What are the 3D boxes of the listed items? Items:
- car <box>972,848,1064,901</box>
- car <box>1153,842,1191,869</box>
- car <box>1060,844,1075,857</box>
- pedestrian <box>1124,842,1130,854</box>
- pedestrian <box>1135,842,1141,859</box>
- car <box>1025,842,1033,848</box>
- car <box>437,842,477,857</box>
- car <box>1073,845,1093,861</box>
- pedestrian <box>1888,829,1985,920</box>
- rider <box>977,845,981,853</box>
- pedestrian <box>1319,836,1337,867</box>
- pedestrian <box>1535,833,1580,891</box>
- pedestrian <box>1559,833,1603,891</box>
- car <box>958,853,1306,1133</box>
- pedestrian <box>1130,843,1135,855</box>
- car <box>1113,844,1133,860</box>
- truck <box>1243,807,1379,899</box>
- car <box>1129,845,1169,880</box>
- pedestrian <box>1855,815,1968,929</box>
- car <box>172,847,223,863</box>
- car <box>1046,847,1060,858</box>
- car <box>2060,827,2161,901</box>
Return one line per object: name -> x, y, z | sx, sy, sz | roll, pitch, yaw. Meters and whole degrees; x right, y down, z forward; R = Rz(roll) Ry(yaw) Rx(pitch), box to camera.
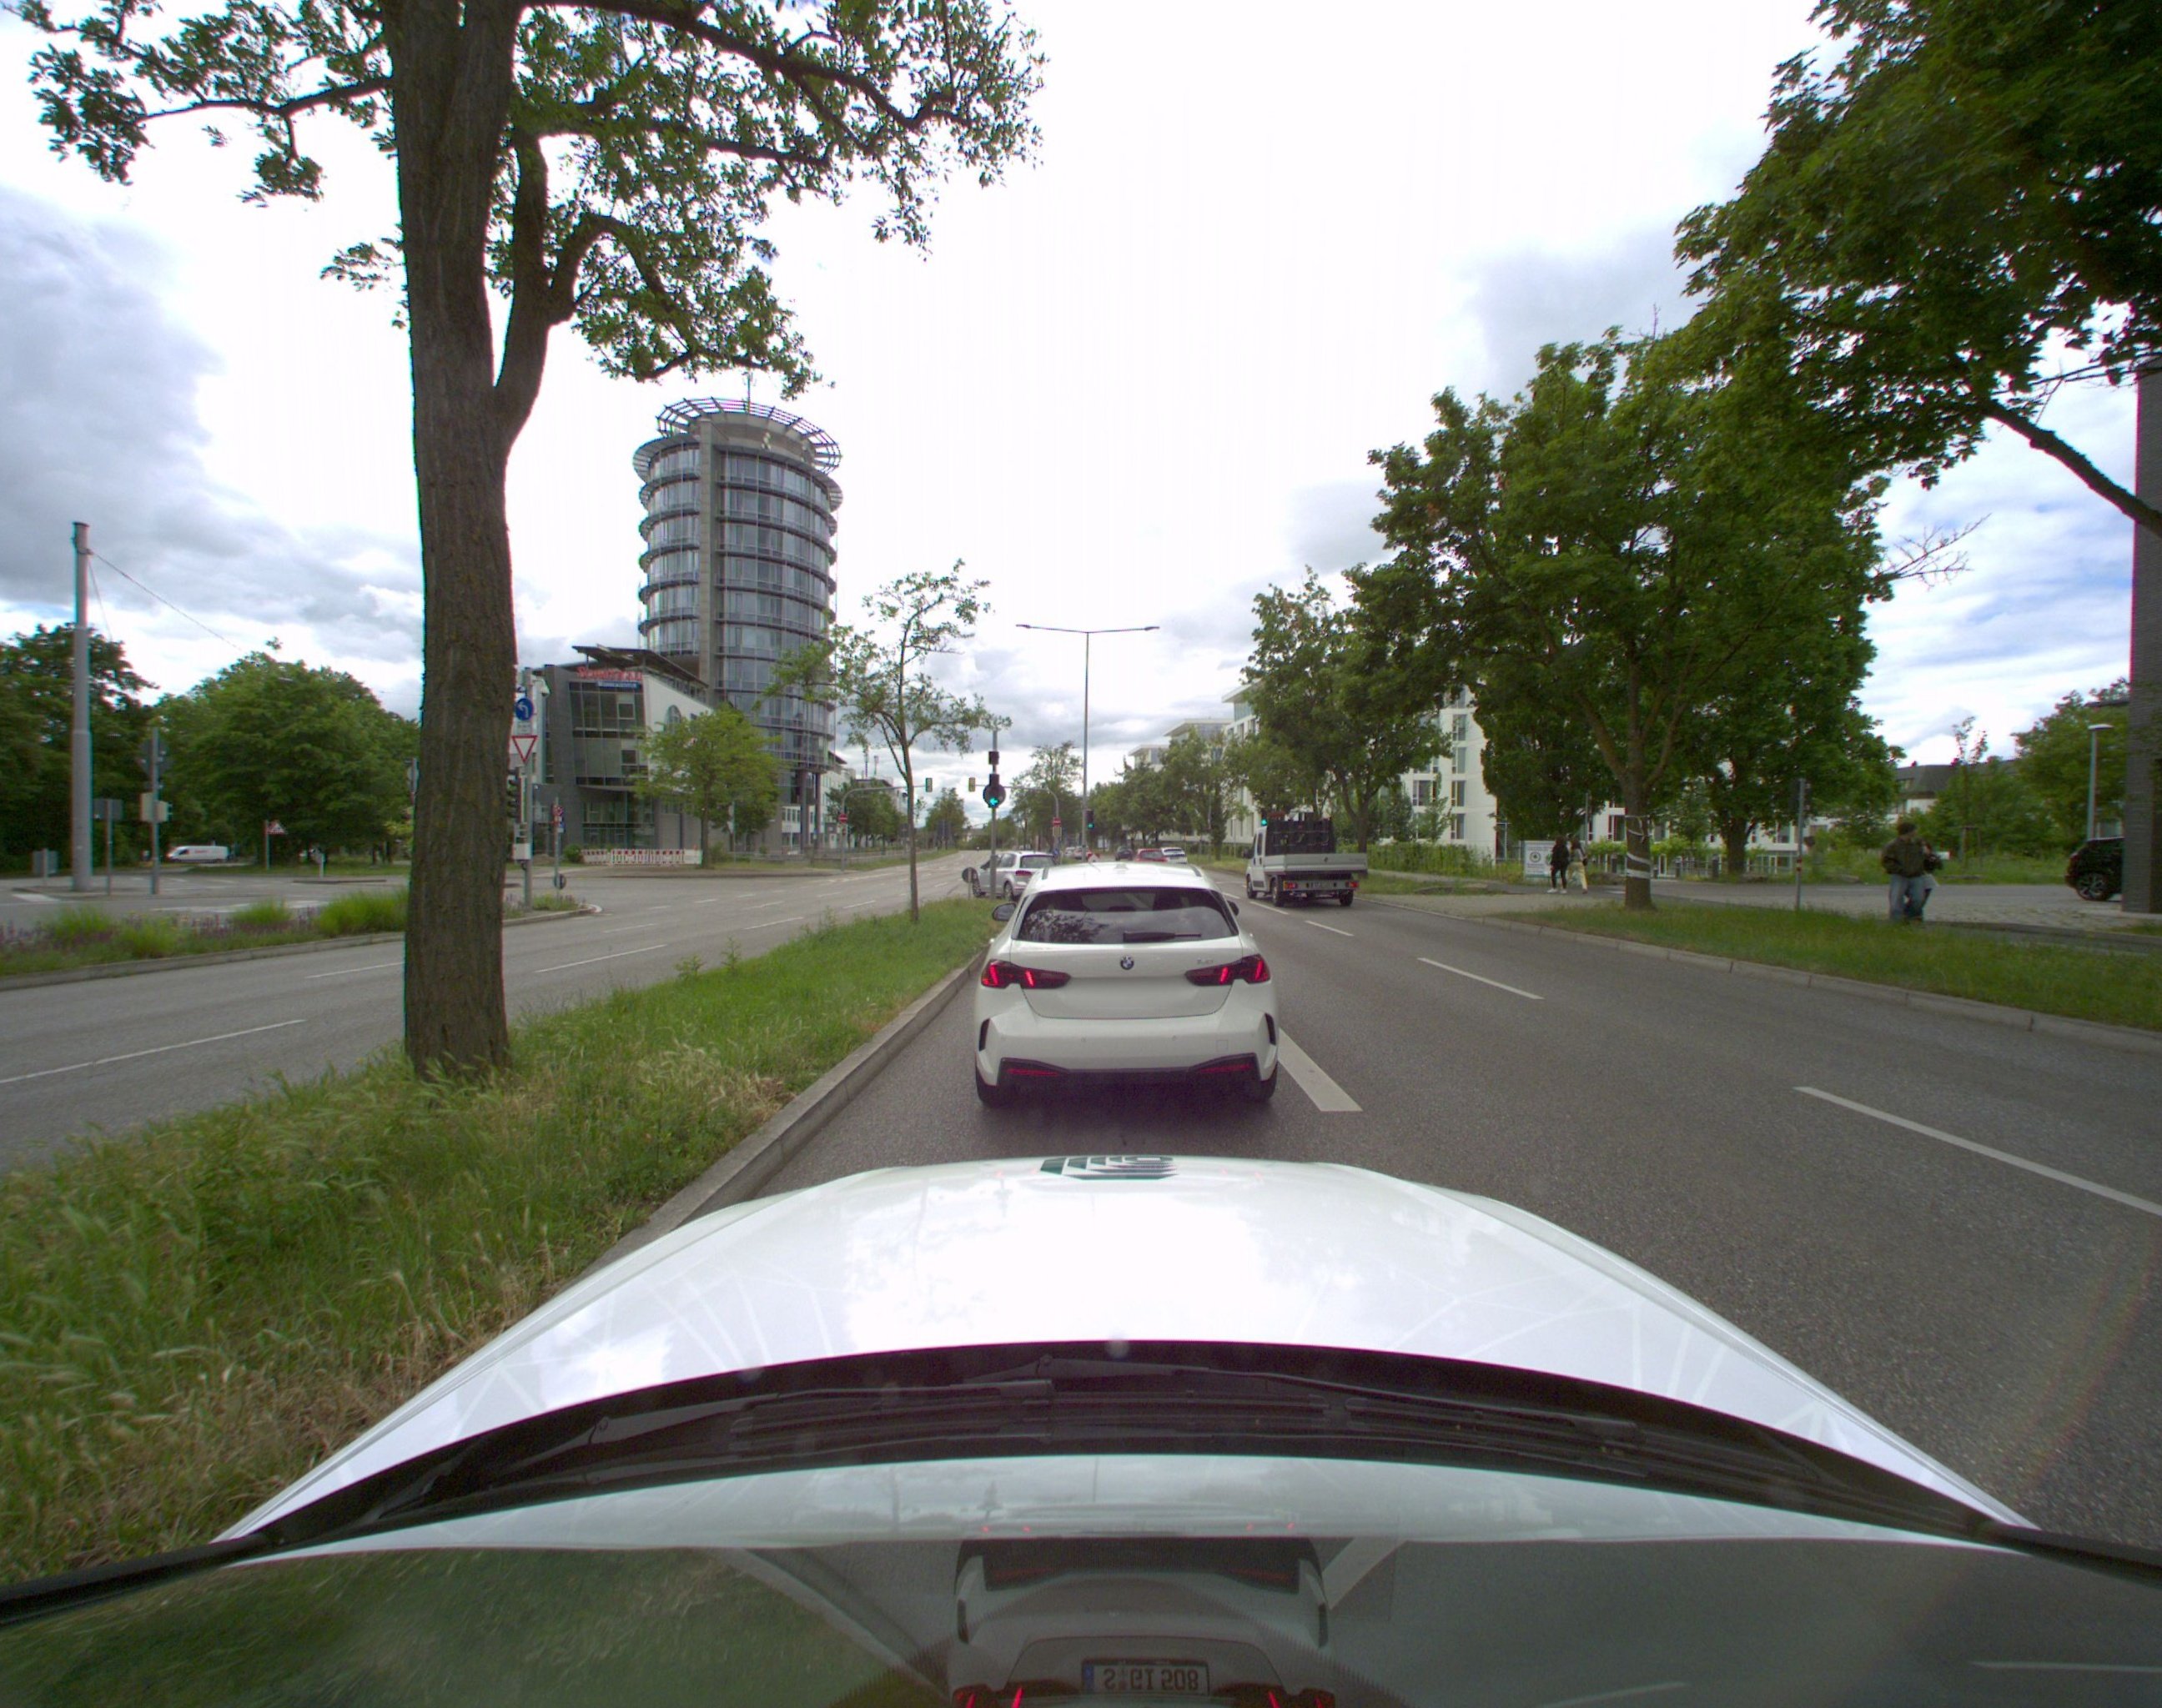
car -> -2.123, 0.594, 26.238 | 1.558, 1.569, 3.965 | 0, 0, -27
car -> 5.442, 0.094, 49.175 | 1.711, 1.555, 4.087 | -1, 0, -1
car -> -1.659, -0.446, 98.408 | 1.602, 1.468, 3.671 | 0, 0, -3
pedestrian -> 8.001, -1.010, 141.657 | 0.763, 2.014, 0.751 | 0, -1, -13
pedestrian -> 9.091, -0.594, 129.486 | 0.828, 2.627, 0.646 | 0, 0, 1
car -> -15.379, -2.682, 239.704 | 1.992, 1.670, 3.990 | -2, 0, -7
car -> -37.312, -0.252, 48.718 | 0.766, 0.876, 1.730 | 0, 0, 39
car -> 0.207, -0.125, 84.495 | 1.851, 1.596, 4.308 | -1, 0, -3
pedestrian -> 15.174, 0.353, 14.474 | 0.828, 1.557, 0.877 | 0, 0, 8
rider -> -24.446, -1.239, 195.595 | 0.843, 1.771, 0.807 | 0, -1, -2
pedestrian -> 12.825, -0.135, 42.296 | 0.739, 1.574, 0.674 | 0, -1, 1
pedestrian -> 13.994, 0.228, 23.954 | 0.791, 1.660, 1.062 | 0, 0, 8
pedestrian -> 14.782, 0.226, 24.100 | 0.774, 1.660, 0.954 | 0, 0, 7
car -> 0.332, 0.721, 6.250 | 1.815, 1.438, 4.002 | 0, 0, 2
pedestrian -> 8.843, -0.870, 139.561 | 0.849, 2.013, 0.603 | 0, 0, -13
car -> 4.374, -0.189, 85.103 | 1.653, 1.512, 3.996 | 0, -2, -2
truck -> 6.087, -0.041, 22.424 | 2.204, 2.203, 5.845 | 0, 0, 1
car -> 3.223, 0.365, 39.218 | 1.710, 1.558, 3.859 | -1, 0, 1
pedestrian -> 14.118, 0.291, 13.877 | 0.954, 1.868, 0.981 | 0, 0, 8
car -> -128.814, 0.127, 118.808 | 1.978, 2.339, 4.570 | -1, 0, 16
car -> -4.328, -0.256, 124.421 | 1.889, 1.596, 4.305 | 0, 0, -6
car -> 24.893, 0.219, 17.962 | 1.749, 1.646, 4.151 | 0, 0, 2
